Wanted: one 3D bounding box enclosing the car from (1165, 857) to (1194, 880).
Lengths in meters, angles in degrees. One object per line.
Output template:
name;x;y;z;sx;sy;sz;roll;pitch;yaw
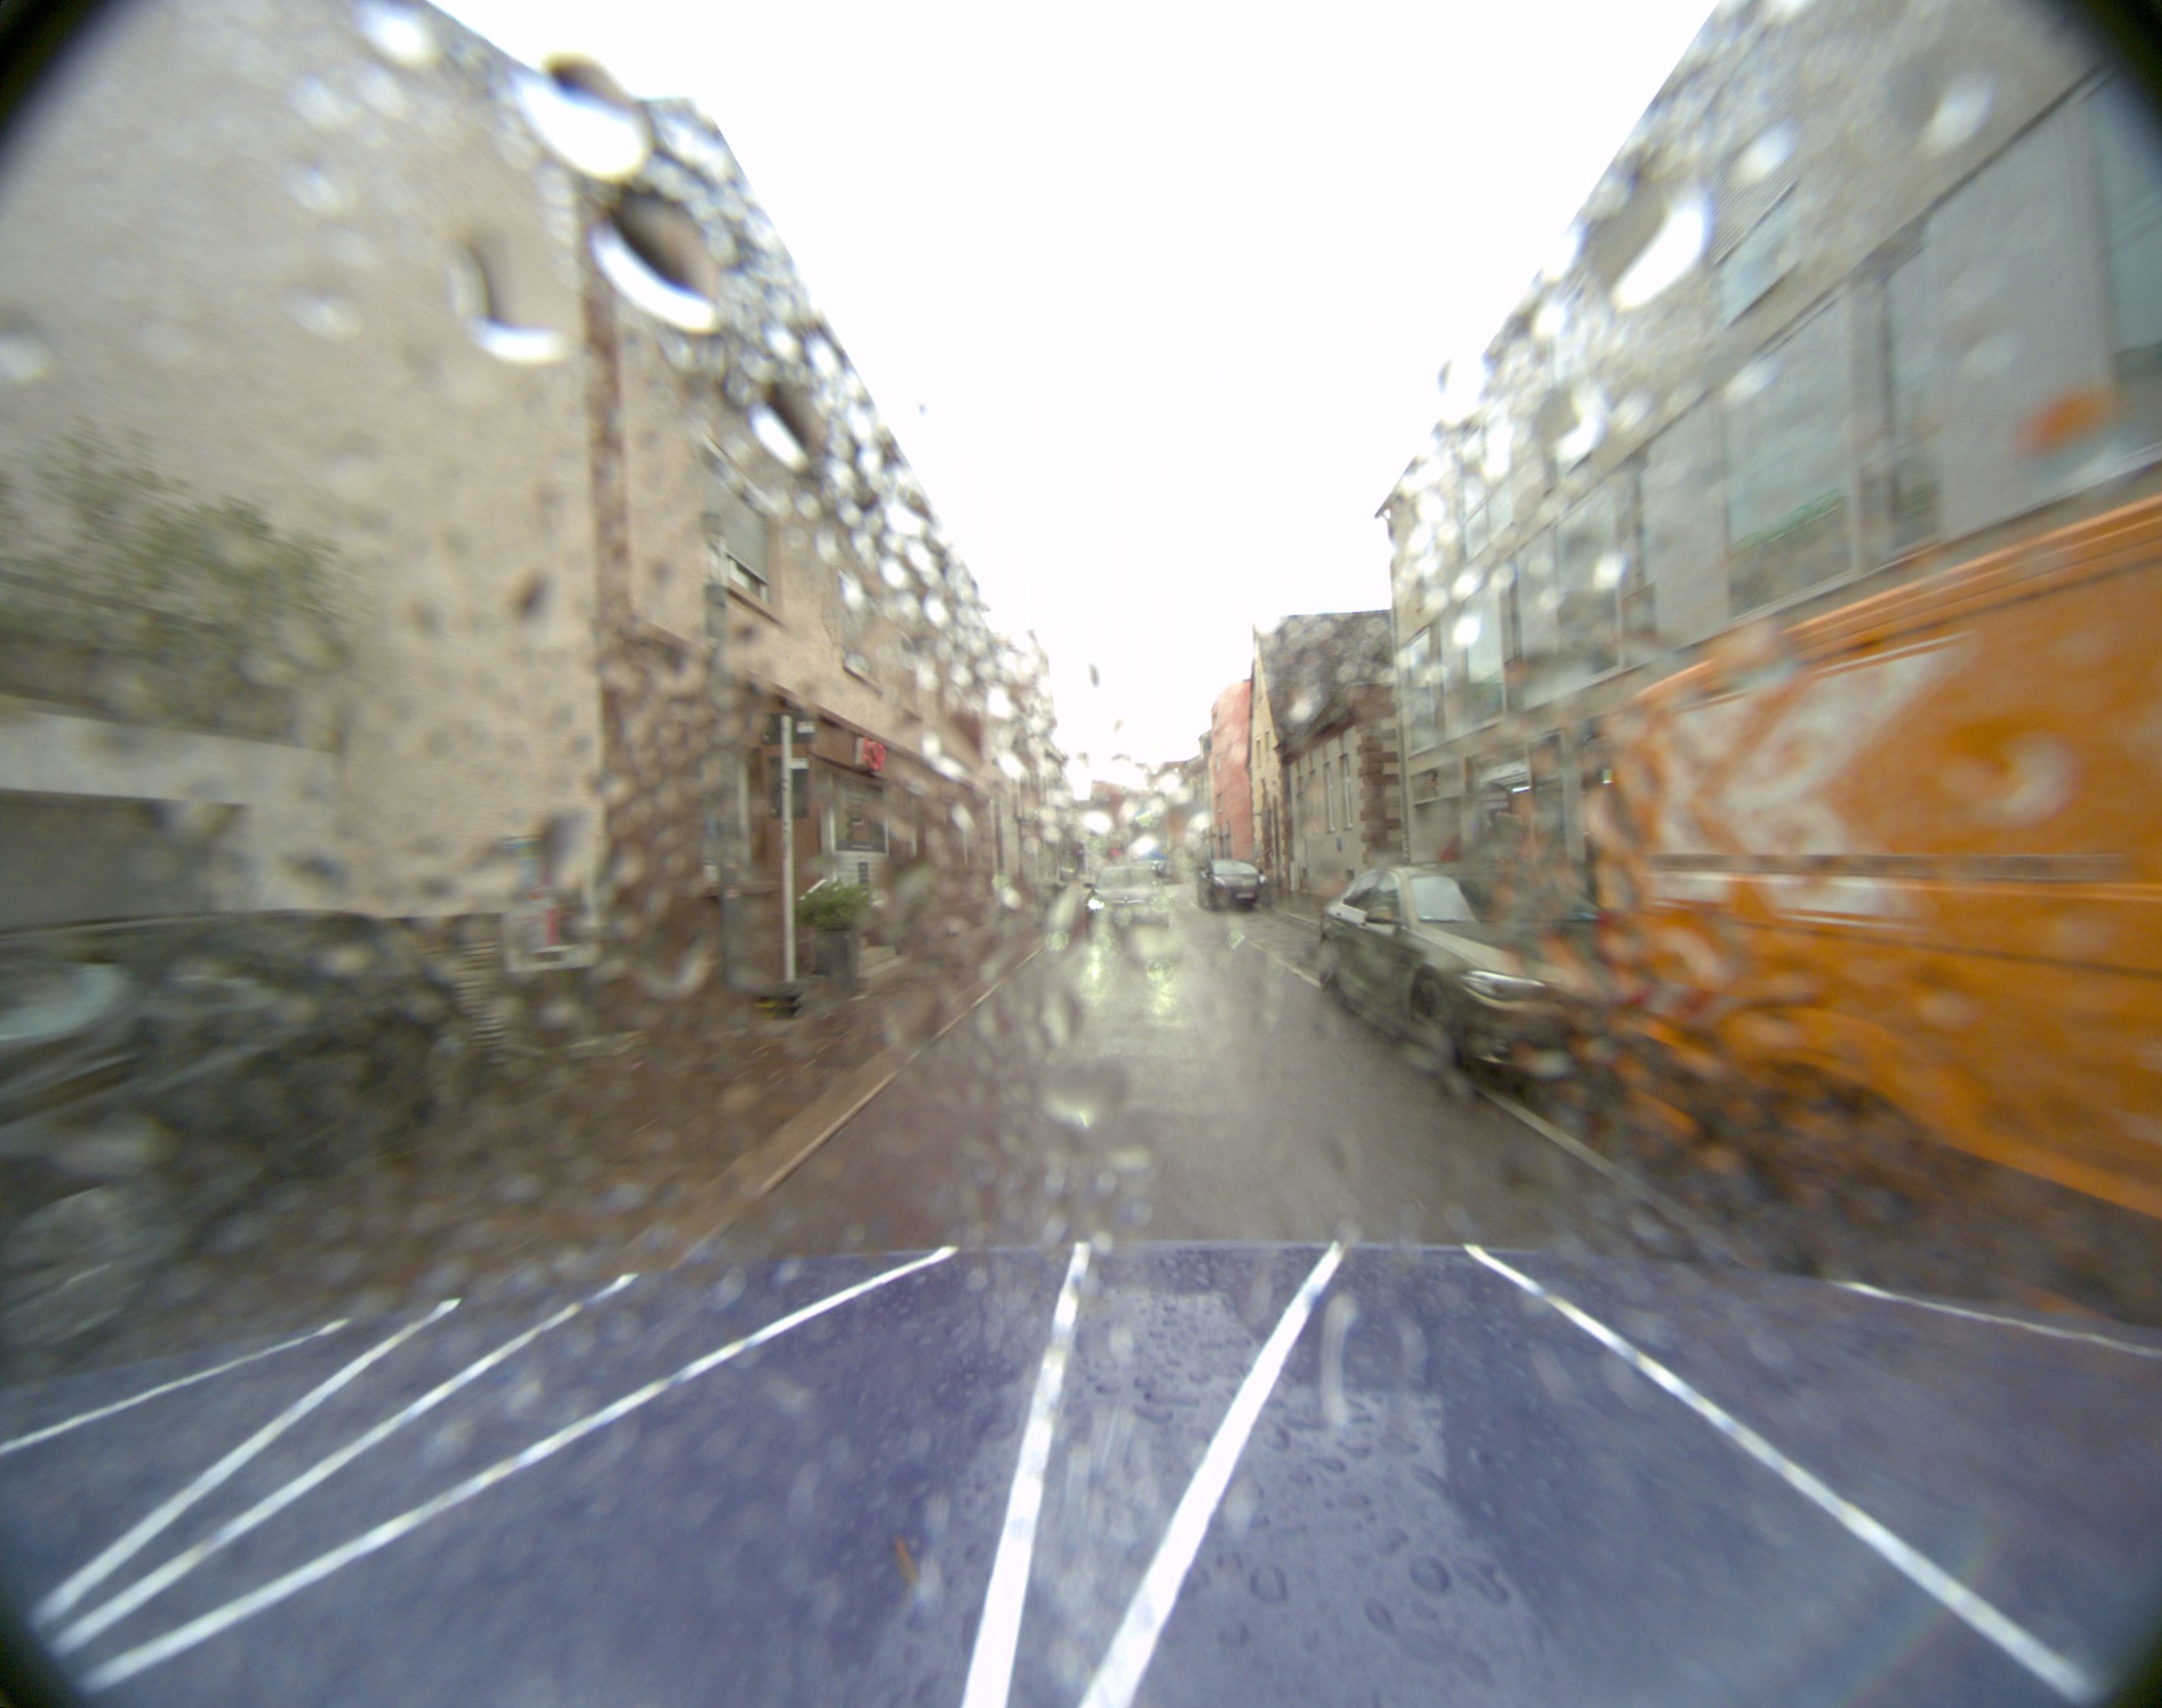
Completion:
car;6.287;0.898;48.827;1.631;1.359;3.490;-3;-1;4

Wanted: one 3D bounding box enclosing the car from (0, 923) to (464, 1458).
car;-4.398;1.143;3.030;1.740;1.349;3.930;-2;0;-20

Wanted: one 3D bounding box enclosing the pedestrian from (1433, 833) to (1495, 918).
pedestrian;8.446;0.461;16.776;1.009;1.766;0.551;-4;1;-13

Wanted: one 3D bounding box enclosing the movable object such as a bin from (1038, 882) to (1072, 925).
movable object such as a bin;-0.659;1.241;19.255;0.733;1.016;0.639;-3;0;6

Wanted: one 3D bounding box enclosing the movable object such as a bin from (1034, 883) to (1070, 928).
movable object such as a bin;-0.703;1.253;18.521;0.733;1.016;0.639;-3;0;6

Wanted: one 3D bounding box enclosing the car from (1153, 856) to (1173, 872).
car;7.610;0.905;70.739;1.631;1.359;3.490;-3;-1;4

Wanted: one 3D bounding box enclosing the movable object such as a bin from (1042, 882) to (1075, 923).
movable object such as a bin;-0.594;1.272;19.925;0.733;1.016;0.639;-3;0;6

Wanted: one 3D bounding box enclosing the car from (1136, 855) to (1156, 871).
car;6.997;0.920;81.827;1.998;1.586;4.001;-2;0;3

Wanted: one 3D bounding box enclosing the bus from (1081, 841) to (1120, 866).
bus;2.550;-0.039;101.665;2.615;3.175;7.364;-2;0;-20

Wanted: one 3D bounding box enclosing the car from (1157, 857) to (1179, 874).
car;7.540;0.997;66.130;1.631;1.359;3.490;-3;-1;4

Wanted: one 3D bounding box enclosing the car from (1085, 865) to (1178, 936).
car;1.304;1.023;18.336;1.946;1.394;4.422;-1;0;6

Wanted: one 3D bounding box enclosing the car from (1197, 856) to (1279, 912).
car;4.726;0.844;23.417;1.739;1.516;3.931;-2;0;1

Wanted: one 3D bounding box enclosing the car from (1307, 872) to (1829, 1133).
car;3.325;0.880;6.417;1.760;1.348;4.483;-2;-1;4

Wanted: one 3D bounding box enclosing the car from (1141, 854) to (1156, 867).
car;7.675;0.792;86.968;1.631;1.359;3.490;-3;-1;4

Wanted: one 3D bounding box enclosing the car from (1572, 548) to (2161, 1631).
car;3.152;0.460;0.525;1.998;2.226;5.862;-2;0;3
